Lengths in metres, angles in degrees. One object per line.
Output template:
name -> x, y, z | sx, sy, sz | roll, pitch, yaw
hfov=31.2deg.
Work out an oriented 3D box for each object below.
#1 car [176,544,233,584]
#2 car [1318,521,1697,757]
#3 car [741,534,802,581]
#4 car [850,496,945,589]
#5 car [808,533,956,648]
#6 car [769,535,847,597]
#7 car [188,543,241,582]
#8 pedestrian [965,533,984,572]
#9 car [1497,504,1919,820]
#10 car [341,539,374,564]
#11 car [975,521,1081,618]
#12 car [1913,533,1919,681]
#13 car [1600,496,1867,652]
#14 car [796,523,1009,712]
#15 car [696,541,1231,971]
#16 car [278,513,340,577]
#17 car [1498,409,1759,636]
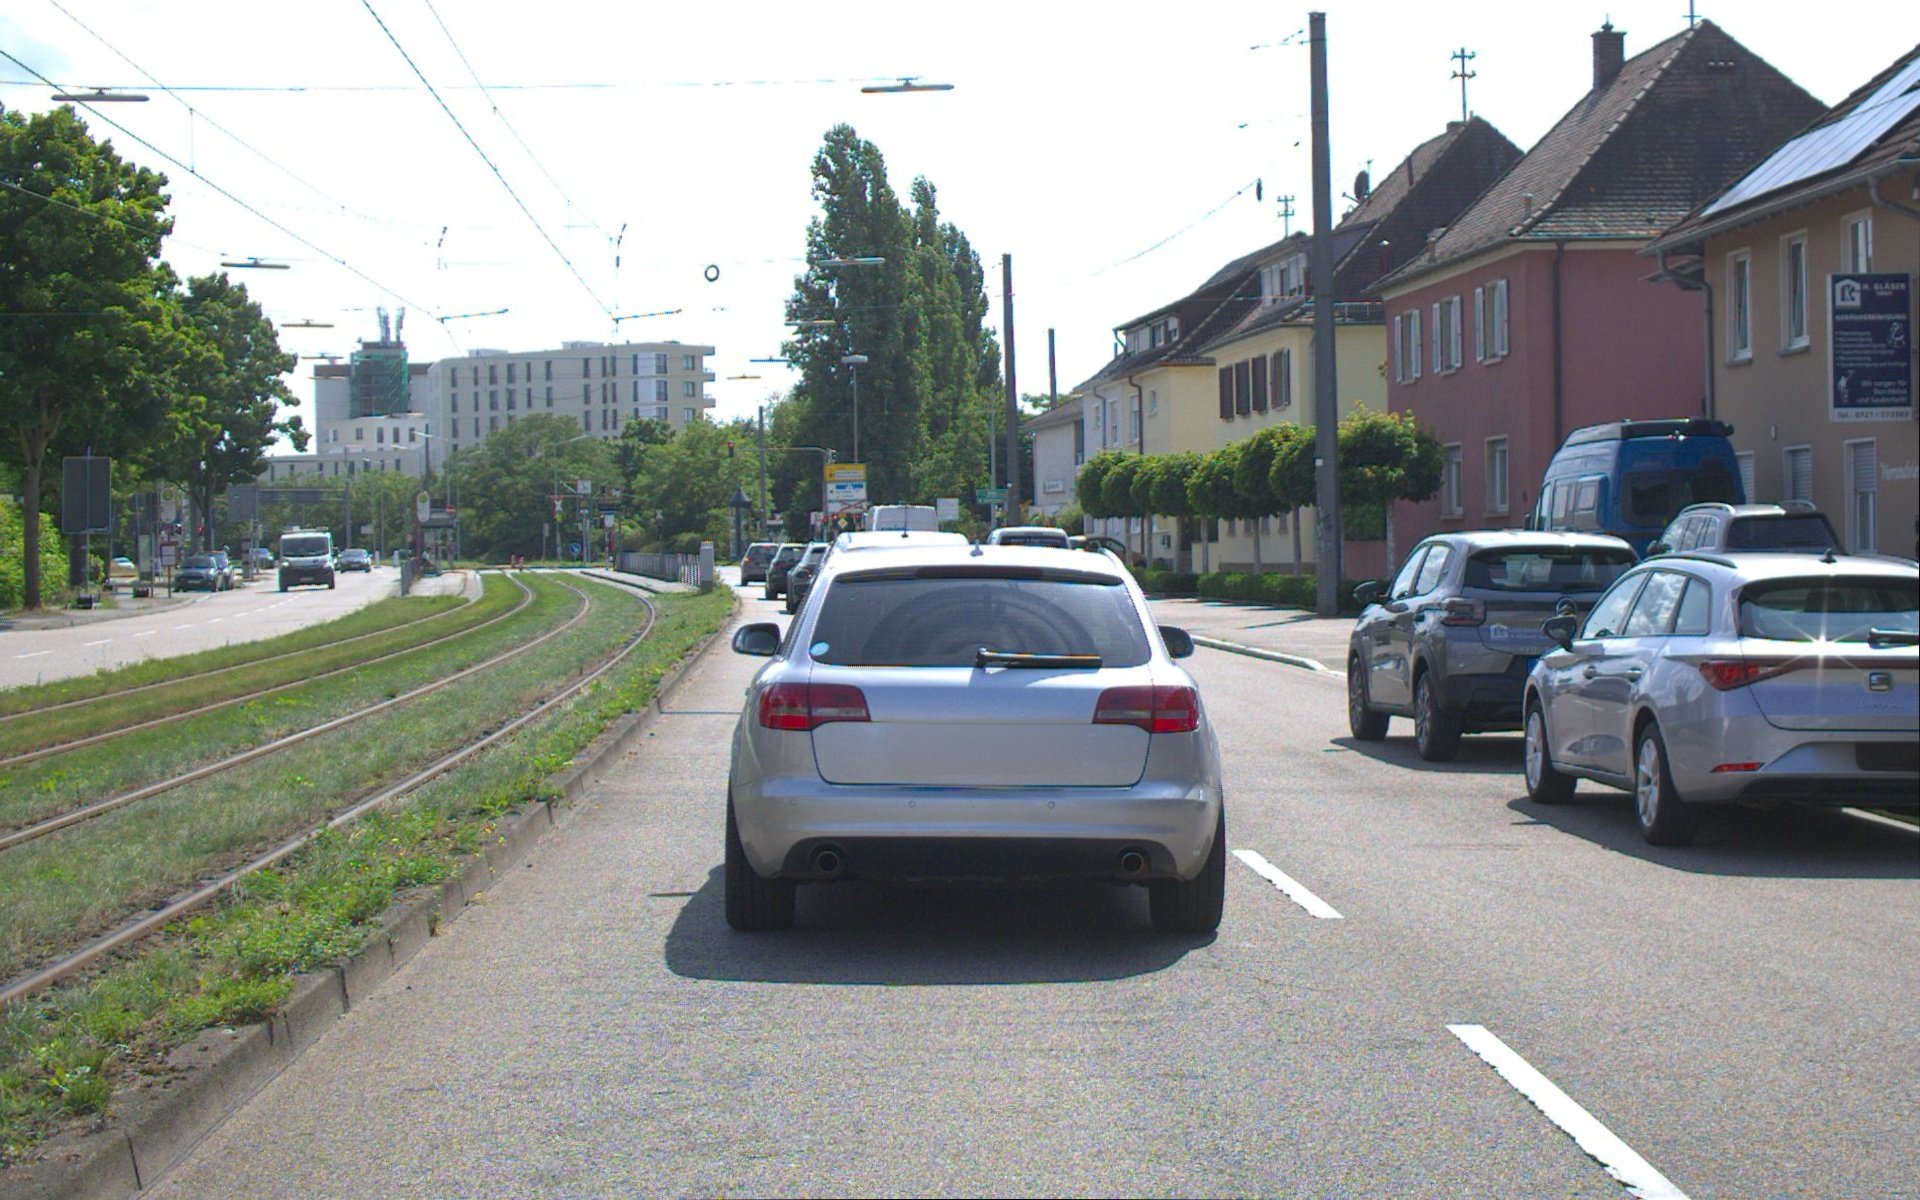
car -> -30.398, -1.470, 138.333 | 1.786, 1.578, 3.931 | 0, 1, -6
car -> 3.879, 0.246, 25.069 | 1.807, 1.554, 4.254 | 1, 0, -4
car -> -6.387, -1.435, 116.885 | 1.885, 1.525, 4.094 | 1, 0, -1
car -> -1.791, -1.637, 97.183 | 2.040, 2.549, 5.232 | 0, 1, -8
car -> -1.046, -0.165, 46.506 | 1.885, 1.461, 4.095 | -1, 1, -1
car -> -3.839, -0.860, 87.602 | 1.885, 1.525, 4.094 | 1, 0, -1
car -> -31.343, -1.585, 144.498 | 2.059, 1.608, 4.755 | -1, 1, -13
pedestrian -> 0.653, -2.205, 159.759 | 0.721, 1.776, 0.703 | -3, 1, -5
car -> 4.152, 0.272, 18.272 | 1.814, 1.449, 4.643 | 1, 0, 0
car -> -37.801, -3.025, 215.662 | 1.896, 1.536, 3.730 | 1, 0, -11
car -> 1.283, -0.588, 64.313 | 1.885, 1.725, 4.094 | -1, 1, 2
car -> 10.799, 0.058, 31.438 | 3.648, 1.375, 1.727 | 0, 0, -4
car -> 9.282, -0.354, 41.640 | 1.836, 1.705, 4.865 | -2, 1, -3
car -> -0.568, 0.114, 31.584 | 1.787, 1.571, 4.095 | 2, 1, -2
car -> 0.039, 0.505, 14.228 | 1.854, 1.487, 4.536 | 0, 1, 1
car -> -24.975, -2.089, 131.844 | 2.196, 2.364, 5.334 | -2, 1, -11
car -> 9.188, -1.034, 47.882 | 2.151, 2.920, 6.245 | 1, 0, -2
